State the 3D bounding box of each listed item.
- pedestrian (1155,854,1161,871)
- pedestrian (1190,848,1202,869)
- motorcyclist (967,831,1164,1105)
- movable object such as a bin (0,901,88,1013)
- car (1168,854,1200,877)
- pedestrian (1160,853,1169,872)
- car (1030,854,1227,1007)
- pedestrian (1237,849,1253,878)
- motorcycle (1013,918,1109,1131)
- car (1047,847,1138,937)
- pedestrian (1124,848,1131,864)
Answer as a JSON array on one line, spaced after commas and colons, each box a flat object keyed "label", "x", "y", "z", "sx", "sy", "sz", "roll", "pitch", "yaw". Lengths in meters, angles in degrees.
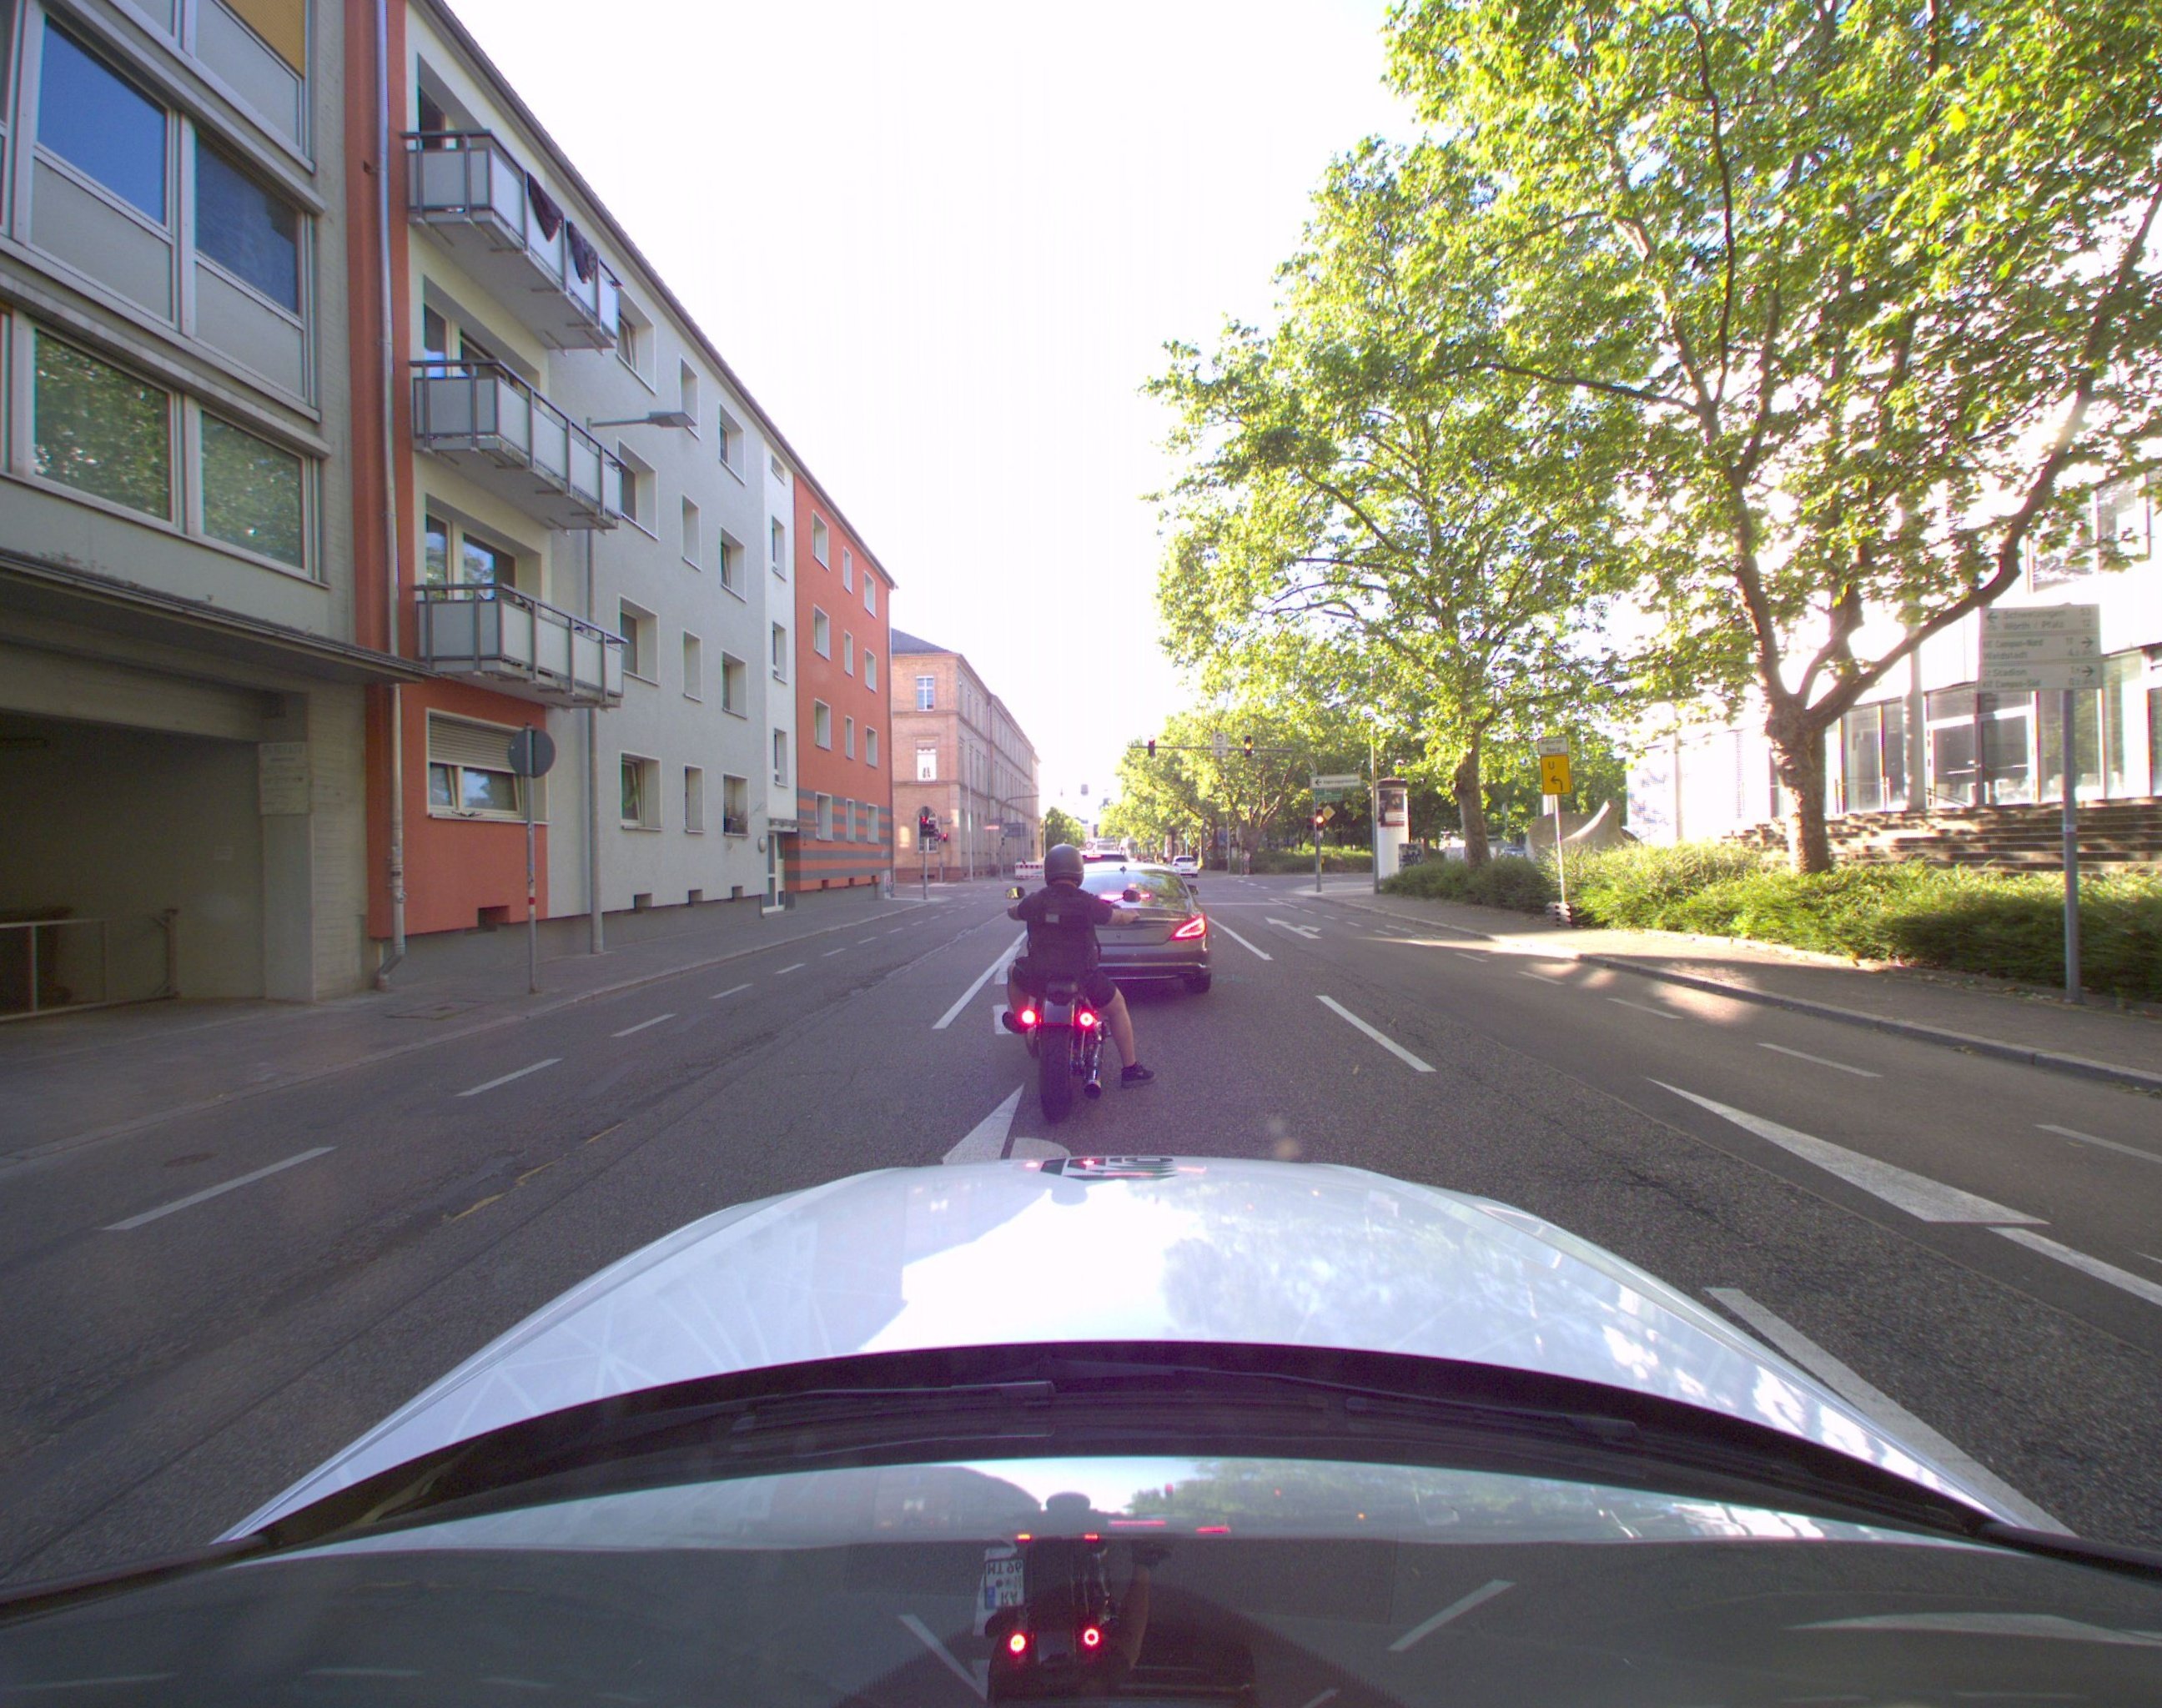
[{"label": "pedestrian", "x": 9.254, "y": 0.999, "z": 97.849, "sx": 0.654, "sy": 2.014, "sz": 0.933, "roll": 0, "pitch": -1, "yaw": 2}, {"label": "pedestrian", "x": 10.926, "y": 0.435, "z": 77.406, "sx": 0.753, "sy": 1.910, "sz": 0.918, "roll": 0, "pitch": -1, "yaw": -26}, {"label": "motorcyclist", "x": -0.072, "y": 0.674, "z": 5.415, "sx": 1.145, "sy": 1.598, "sz": 1.288, "roll": 0, "pitch": -1, "yaw": 1}, {"label": "movable object such as a bin", "x": -11.256, "y": 1.070, "z": 8.640, "sx": 0.626, "sy": 1.100, "sz": 0.659, "roll": 0, "pitch": -1, "yaw": 4}, {"label": "car", "x": 6.826, "y": 0.753, "z": 54.223, "sx": 1.769, "sy": 1.428, "sz": 3.804, "roll": -1, "pitch": 0, "yaw": 2}, {"label": "pedestrian", "x": 8.957, "y": 0.917, "z": 87.409, "sx": 0.811, "sy": 2.014, "sz": 1.271, "roll": 0, "pitch": -1, "yaw": 2}, {"label": "car", "x": 0.518, "y": 0.741, "z": 9.736, "sx": 1.875, "sy": 1.449, "sz": 3.821, "roll": 0, "pitch": 0, "yaw": 2}, {"label": "pedestrian", "x": 10.762, "y": 0.618, "z": 53.431, "sx": 0.996, "sy": 1.826, "sz": 1.078, "roll": 0, "pitch": -1, "yaw": 8}, {"label": "motorcycle", "x": -0.078, "y": 0.997, "z": 5.401, "sx": 0.511, "sy": 1.002, "sz": 2.014, "roll": 0, "pitch": -1, "yaw": 2}, {"label": "car", "x": 0.277, "y": 0.694, "z": 16.864, "sx": 1.615, "sy": 1.594, "sz": 4.002, "roll": -1, "pitch": 0, "yaw": 2}, {"label": "pedestrian", "x": 5.736, "y": 0.270, "z": 100.889, "sx": 0.761, "sy": 2.051, "sz": 0.712, "roll": 0, "pitch": -1, "yaw": 1}]
